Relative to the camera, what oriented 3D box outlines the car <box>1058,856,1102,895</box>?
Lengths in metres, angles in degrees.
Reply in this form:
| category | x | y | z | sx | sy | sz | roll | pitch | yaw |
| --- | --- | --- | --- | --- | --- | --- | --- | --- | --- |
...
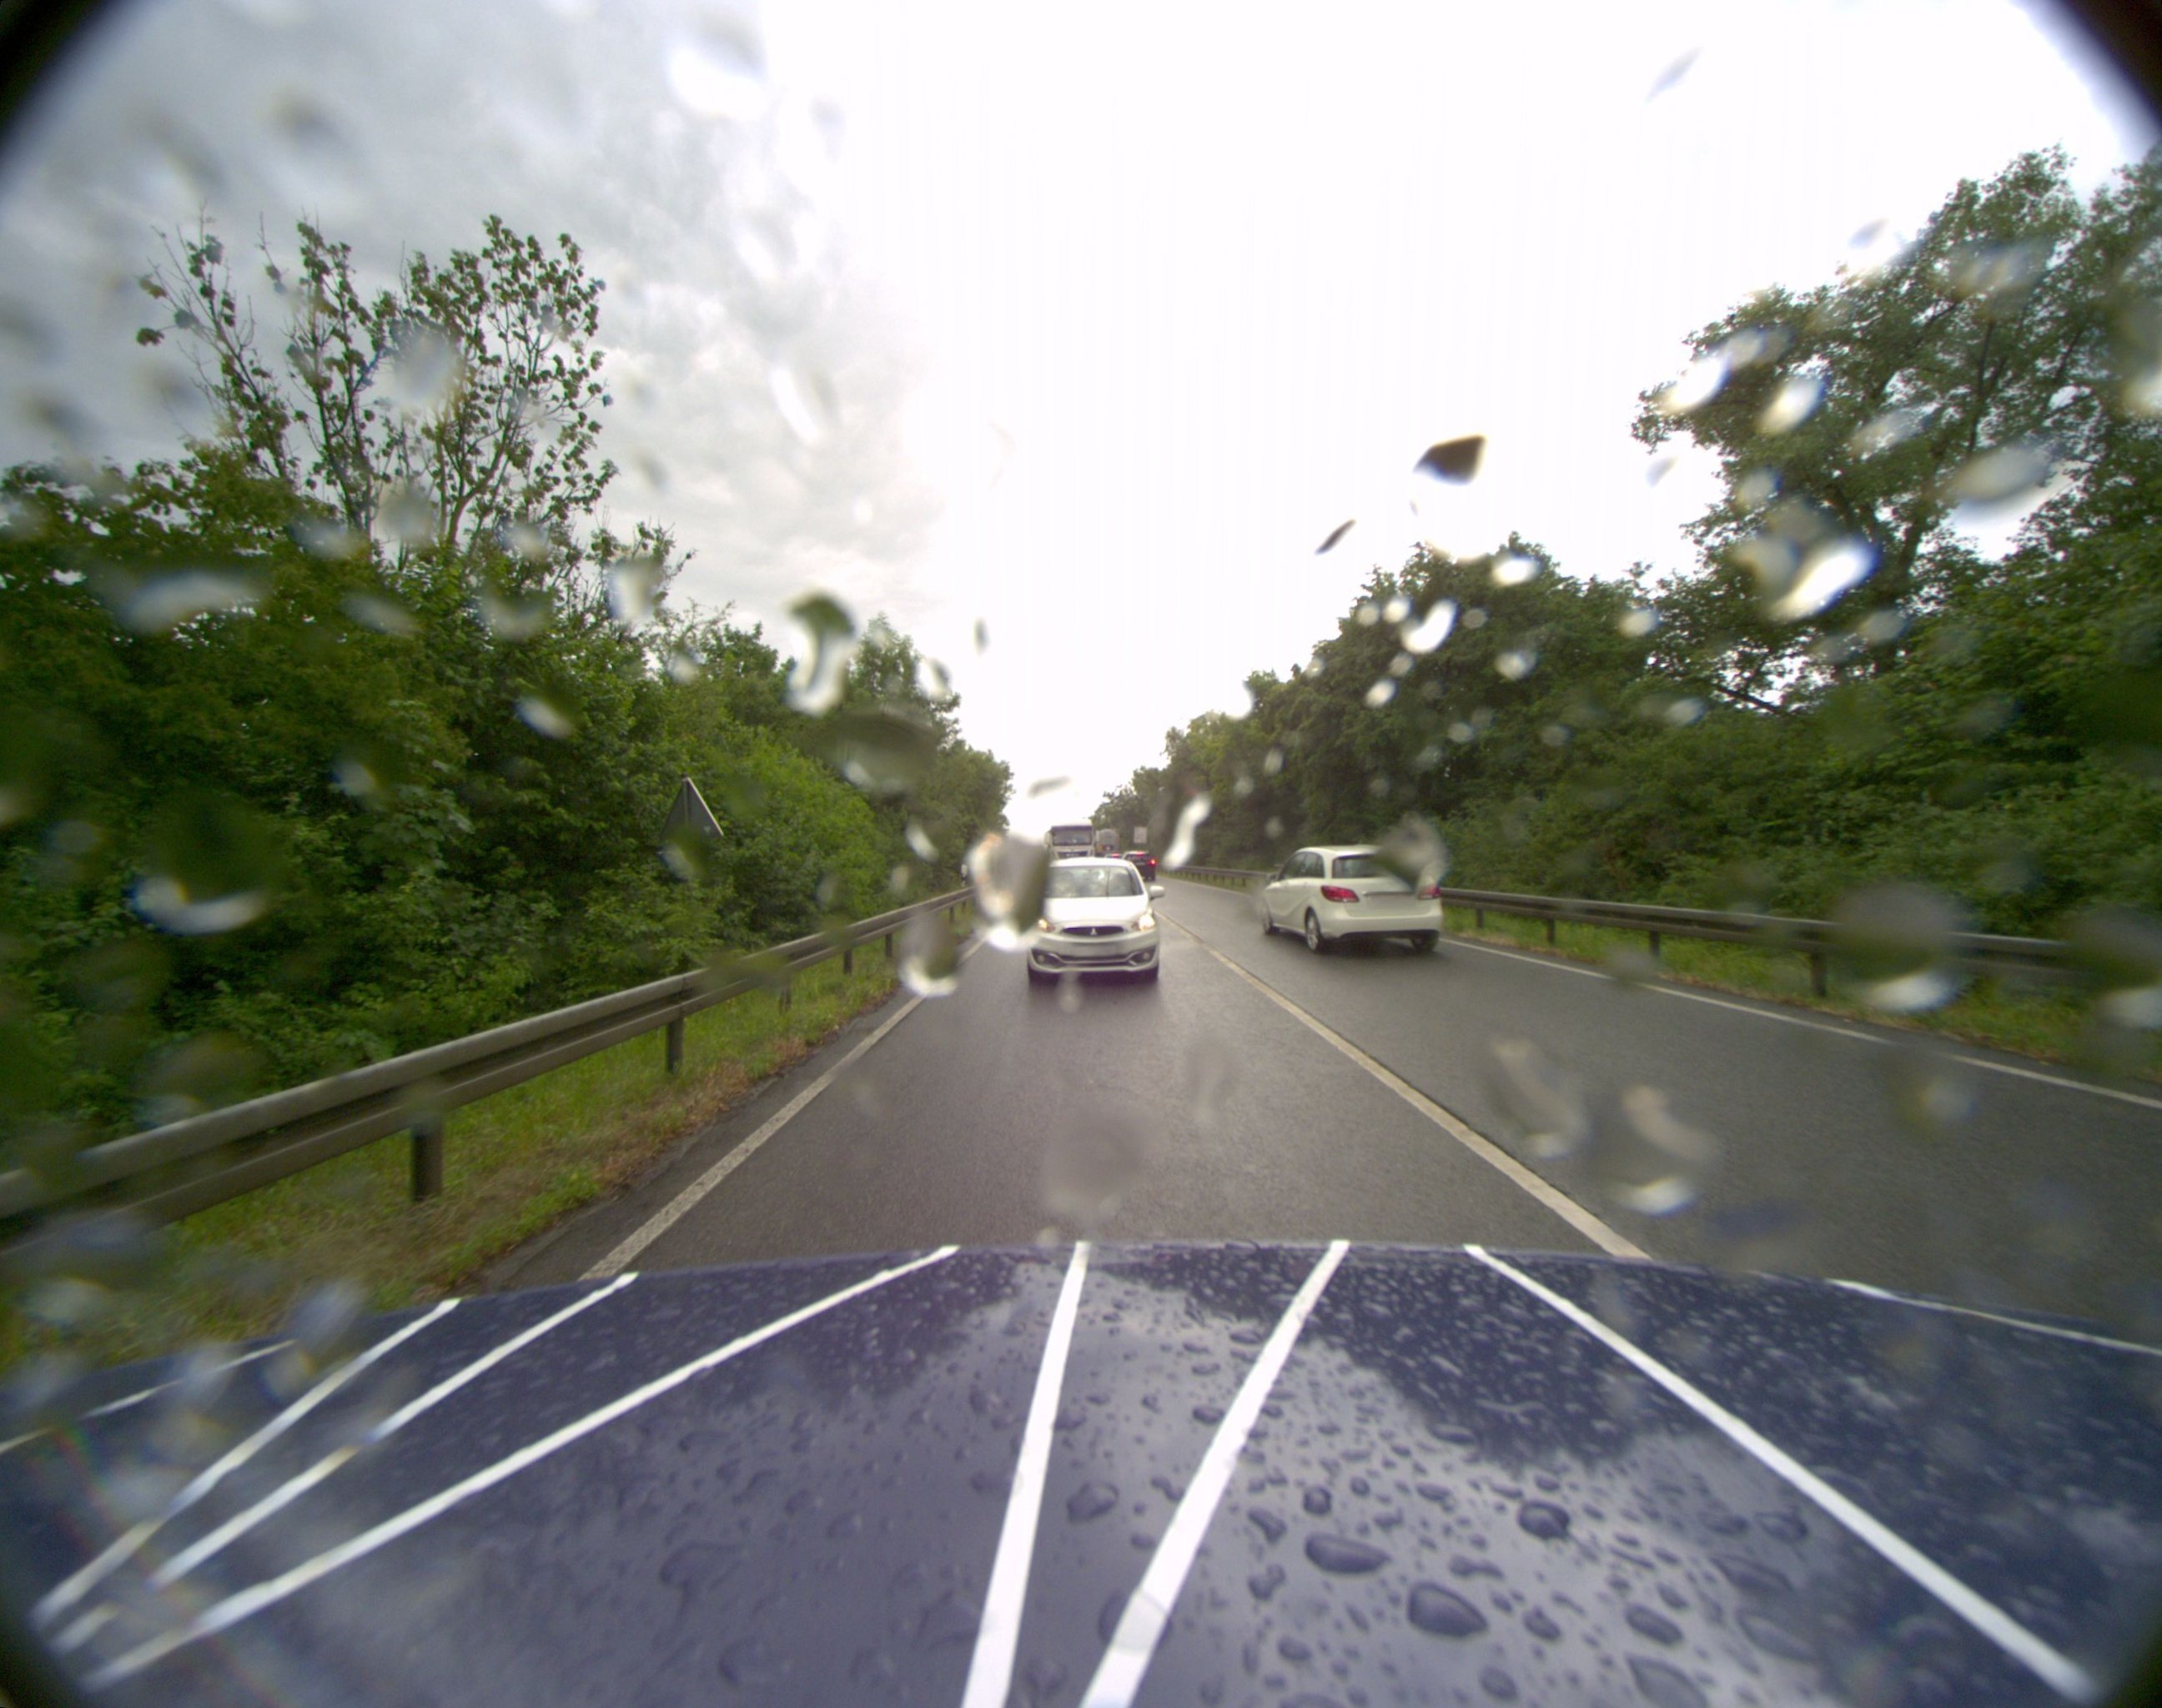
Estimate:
| category | x | y | z | sx | sy | sz | roll | pitch | yaw |
| --- | --- | --- | --- | --- | --- | --- | --- | --- | --- |
| car | 0.007 | 0.843 | 31.472 | 1.640 | 1.413 | 4.492 | -2 | 0 | 1 |

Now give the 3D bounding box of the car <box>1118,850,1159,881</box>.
| category | x | y | z | sx | sy | sz | roll | pitch | yaw |
| --- | --- | --- | --- | --- | --- | --- | --- | --- | --- |
| car | 3.266 | 0.622 | 43.954 | 1.852 | 1.634 | 4.297 | -2 | 0 | -2 |

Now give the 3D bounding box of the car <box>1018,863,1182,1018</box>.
| category | x | y | z | sx | sy | sz | roll | pitch | yaw |
| --- | --- | --- | --- | --- | --- | --- | --- | --- | --- |
| car | 0.161 | 0.910 | 9.834 | 1.610 | 1.435 | 4.208 | -2 | 0 | -1 |

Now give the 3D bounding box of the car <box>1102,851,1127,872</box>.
| category | x | y | z | sx | sy | sz | roll | pitch | yaw |
| --- | --- | --- | --- | --- | --- | --- | --- | --- | --- |
| car | 2.635 | 0.588 | 60.364 | 1.712 | 1.507 | 3.911 | -2 | 1 | -2 |

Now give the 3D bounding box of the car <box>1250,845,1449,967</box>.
| category | x | y | z | sx | sy | sz | roll | pitch | yaw |
| --- | --- | --- | --- | --- | --- | --- | --- | --- | --- |
| car | 4.075 | 0.674 | 12.370 | 1.695 | 1.547 | 4.441 | -2 | 1 | 1 |

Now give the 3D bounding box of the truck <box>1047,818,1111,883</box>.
| category | x | y | z | sx | sy | sz | roll | pitch | yaw |
| --- | --- | --- | --- | --- | --- | --- | --- | --- | --- |
| truck | -0.296 | -0.231 | 45.281 | 3.137 | 3.364 | 9.279 | -2 | 1 | -4 |

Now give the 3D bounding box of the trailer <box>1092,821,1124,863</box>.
| category | x | y | z | sx | sy | sz | roll | pitch | yaw |
| --- | --- | --- | --- | --- | --- | --- | --- | --- | --- |
| trailer | 2.590 | -1.163 | 75.026 | 2.543 | 3.803 | 7.789 | -2 | 1 | -2 |
